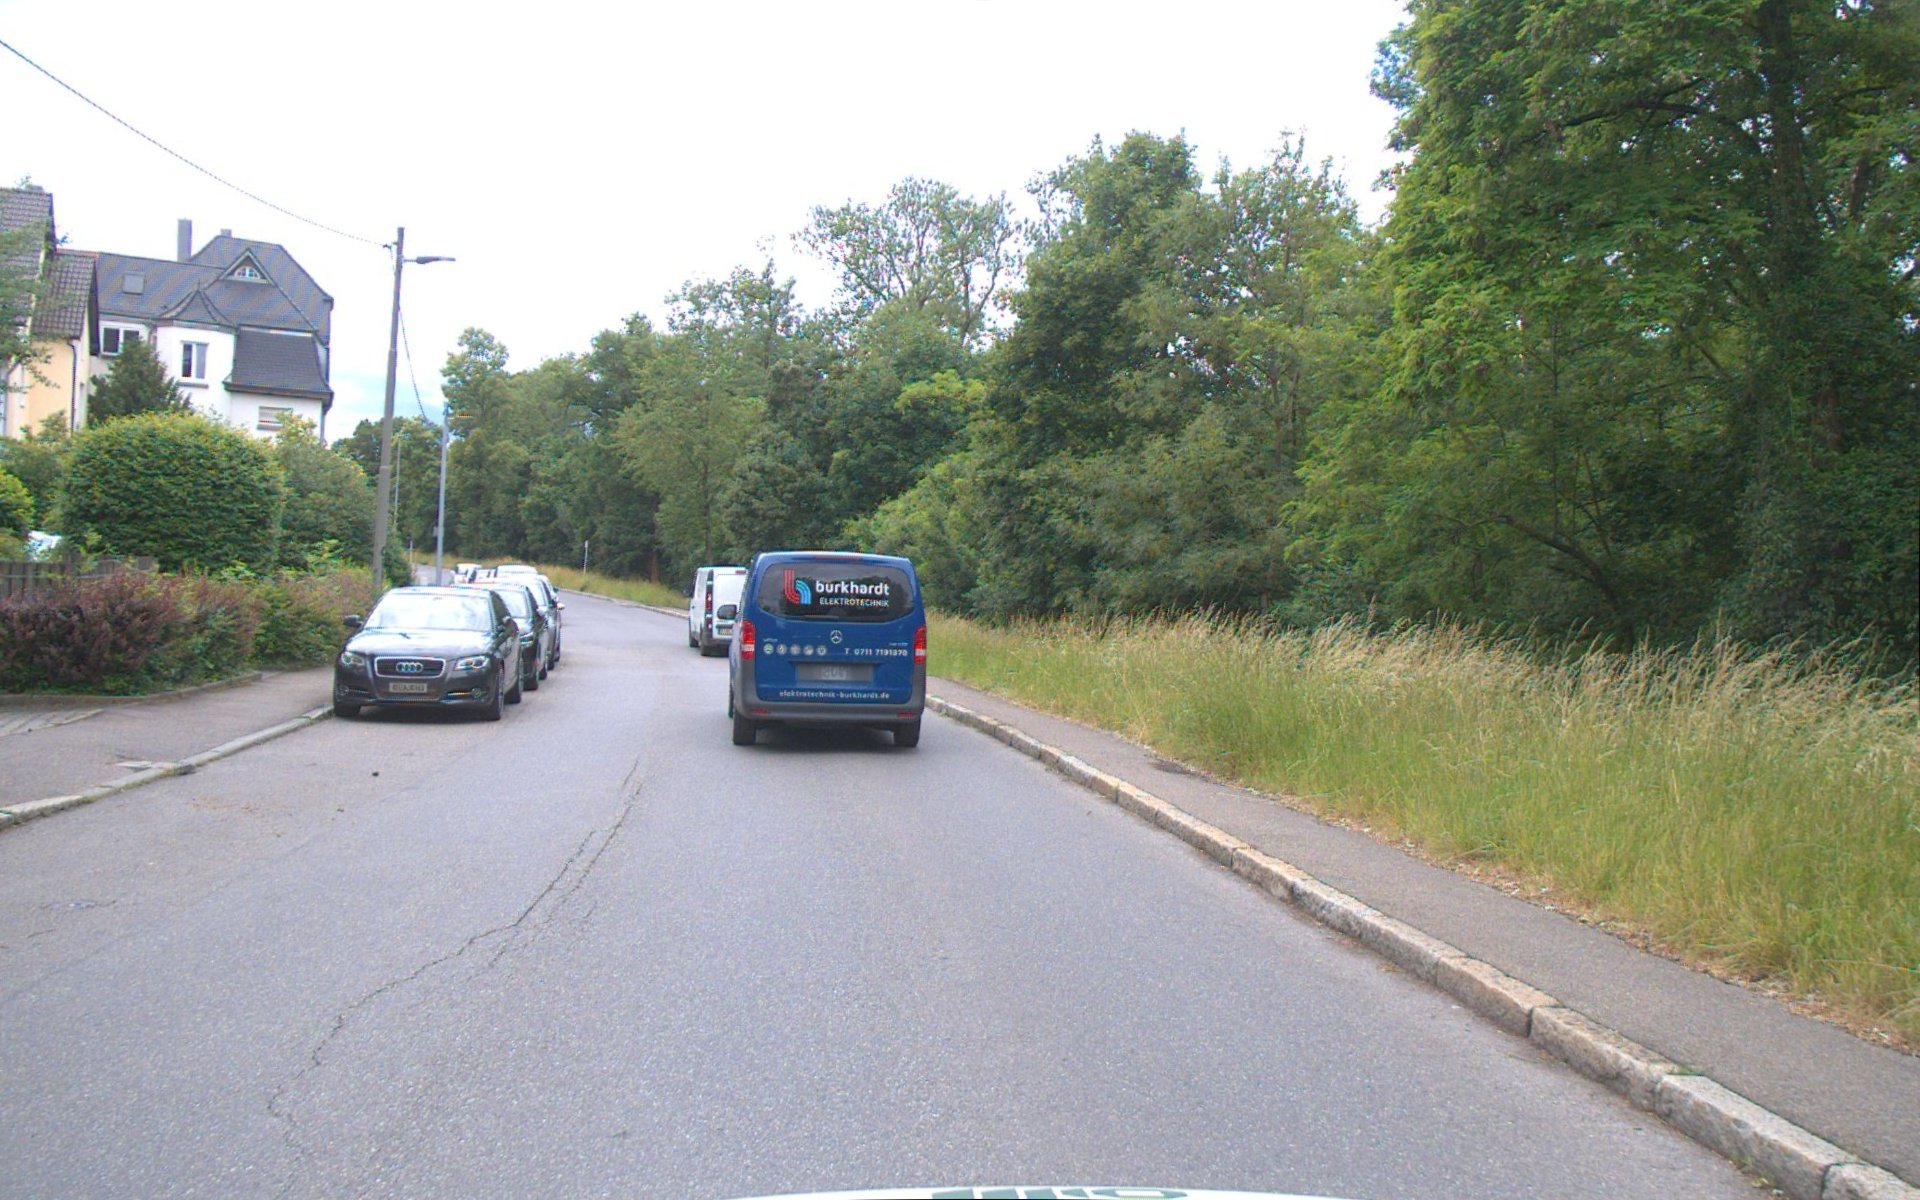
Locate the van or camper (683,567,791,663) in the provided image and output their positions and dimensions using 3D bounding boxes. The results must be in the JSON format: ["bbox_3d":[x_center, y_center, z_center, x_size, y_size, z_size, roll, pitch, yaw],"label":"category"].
[{"bbox_3d":[-5.173,0.279,37.891,1.984,1.991,4.881,2,1,-13],"label":"van or camper"}]

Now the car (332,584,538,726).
[{"bbox_3d":[-6.051,0.563,19.528,1.703,1.443,4.493,2,0,-10],"label":"car"}]

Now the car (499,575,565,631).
[{"bbox_3d":[-13.384,0.059,51.630,1.697,1.518,4.392,5,-1,-17],"label":"car"}]

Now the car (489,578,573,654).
[{"bbox_3d":[-9.139,0.305,35.274,1.596,1.506,3.913,2,0,-15],"label":"car"}]

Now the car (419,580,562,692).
[{"bbox_3d":[-6.832,0.467,24.409,1.620,1.467,4.321,2,0,-11],"label":"car"}]

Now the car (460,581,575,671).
[{"bbox_3d":[-8.045,0.425,30.346,1.730,1.506,4.116,2,0,-12],"label":"car"}]

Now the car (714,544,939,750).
[{"bbox_3d":[-1.533,0.478,17.370,1.879,1.870,4.282,1,-1,-11],"label":"car"}]
